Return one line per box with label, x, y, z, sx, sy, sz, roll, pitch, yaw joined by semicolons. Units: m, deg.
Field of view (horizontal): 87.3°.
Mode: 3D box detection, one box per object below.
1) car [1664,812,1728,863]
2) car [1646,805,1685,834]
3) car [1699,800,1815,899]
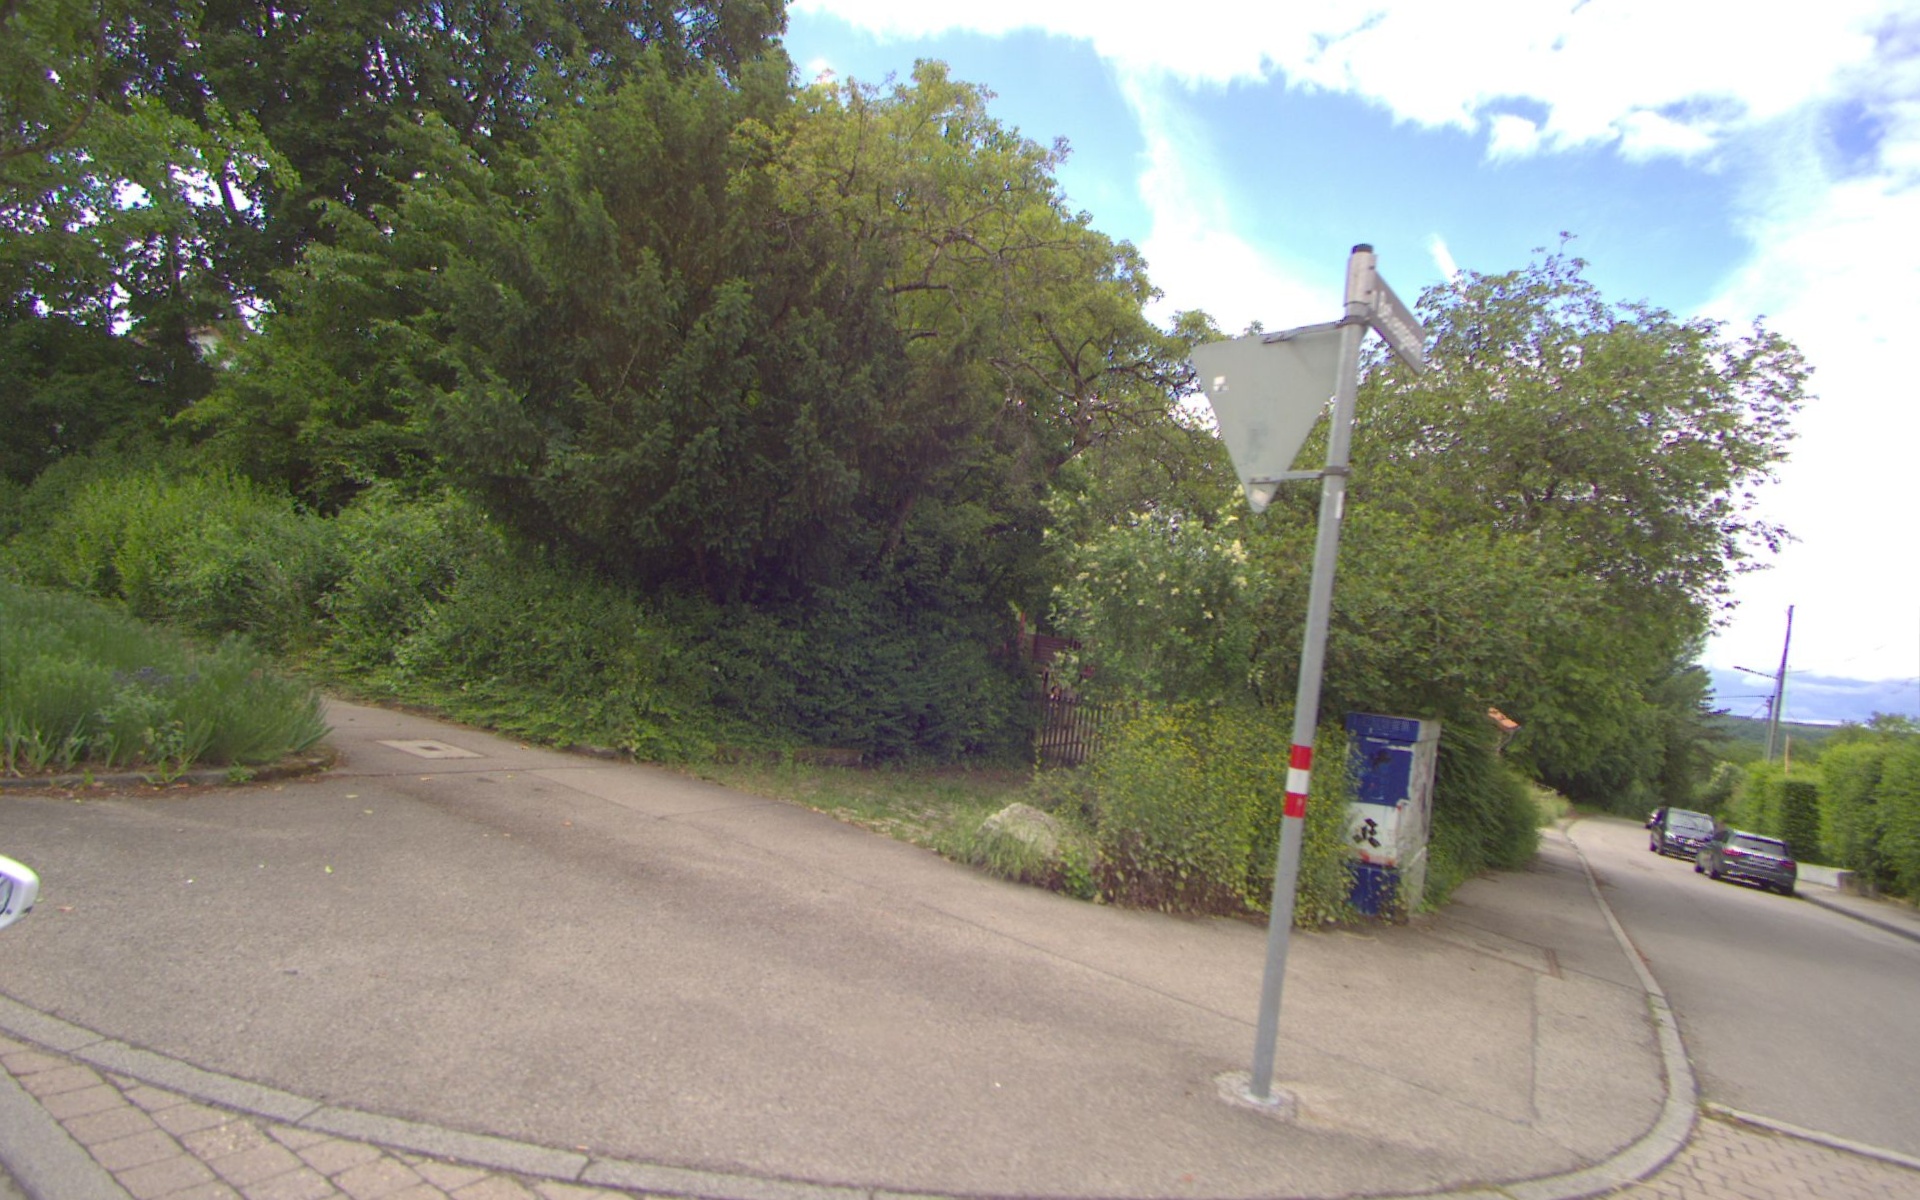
car;30.482;9.796;41.750;1.831;1.649;3.793;5;-7;33
car;45.120;14.045;64.391;1.831;1.462;3.793;5;-7;33
car;21.709;6.723;27.557;1.968;2.035;3.996;5;-5;33
